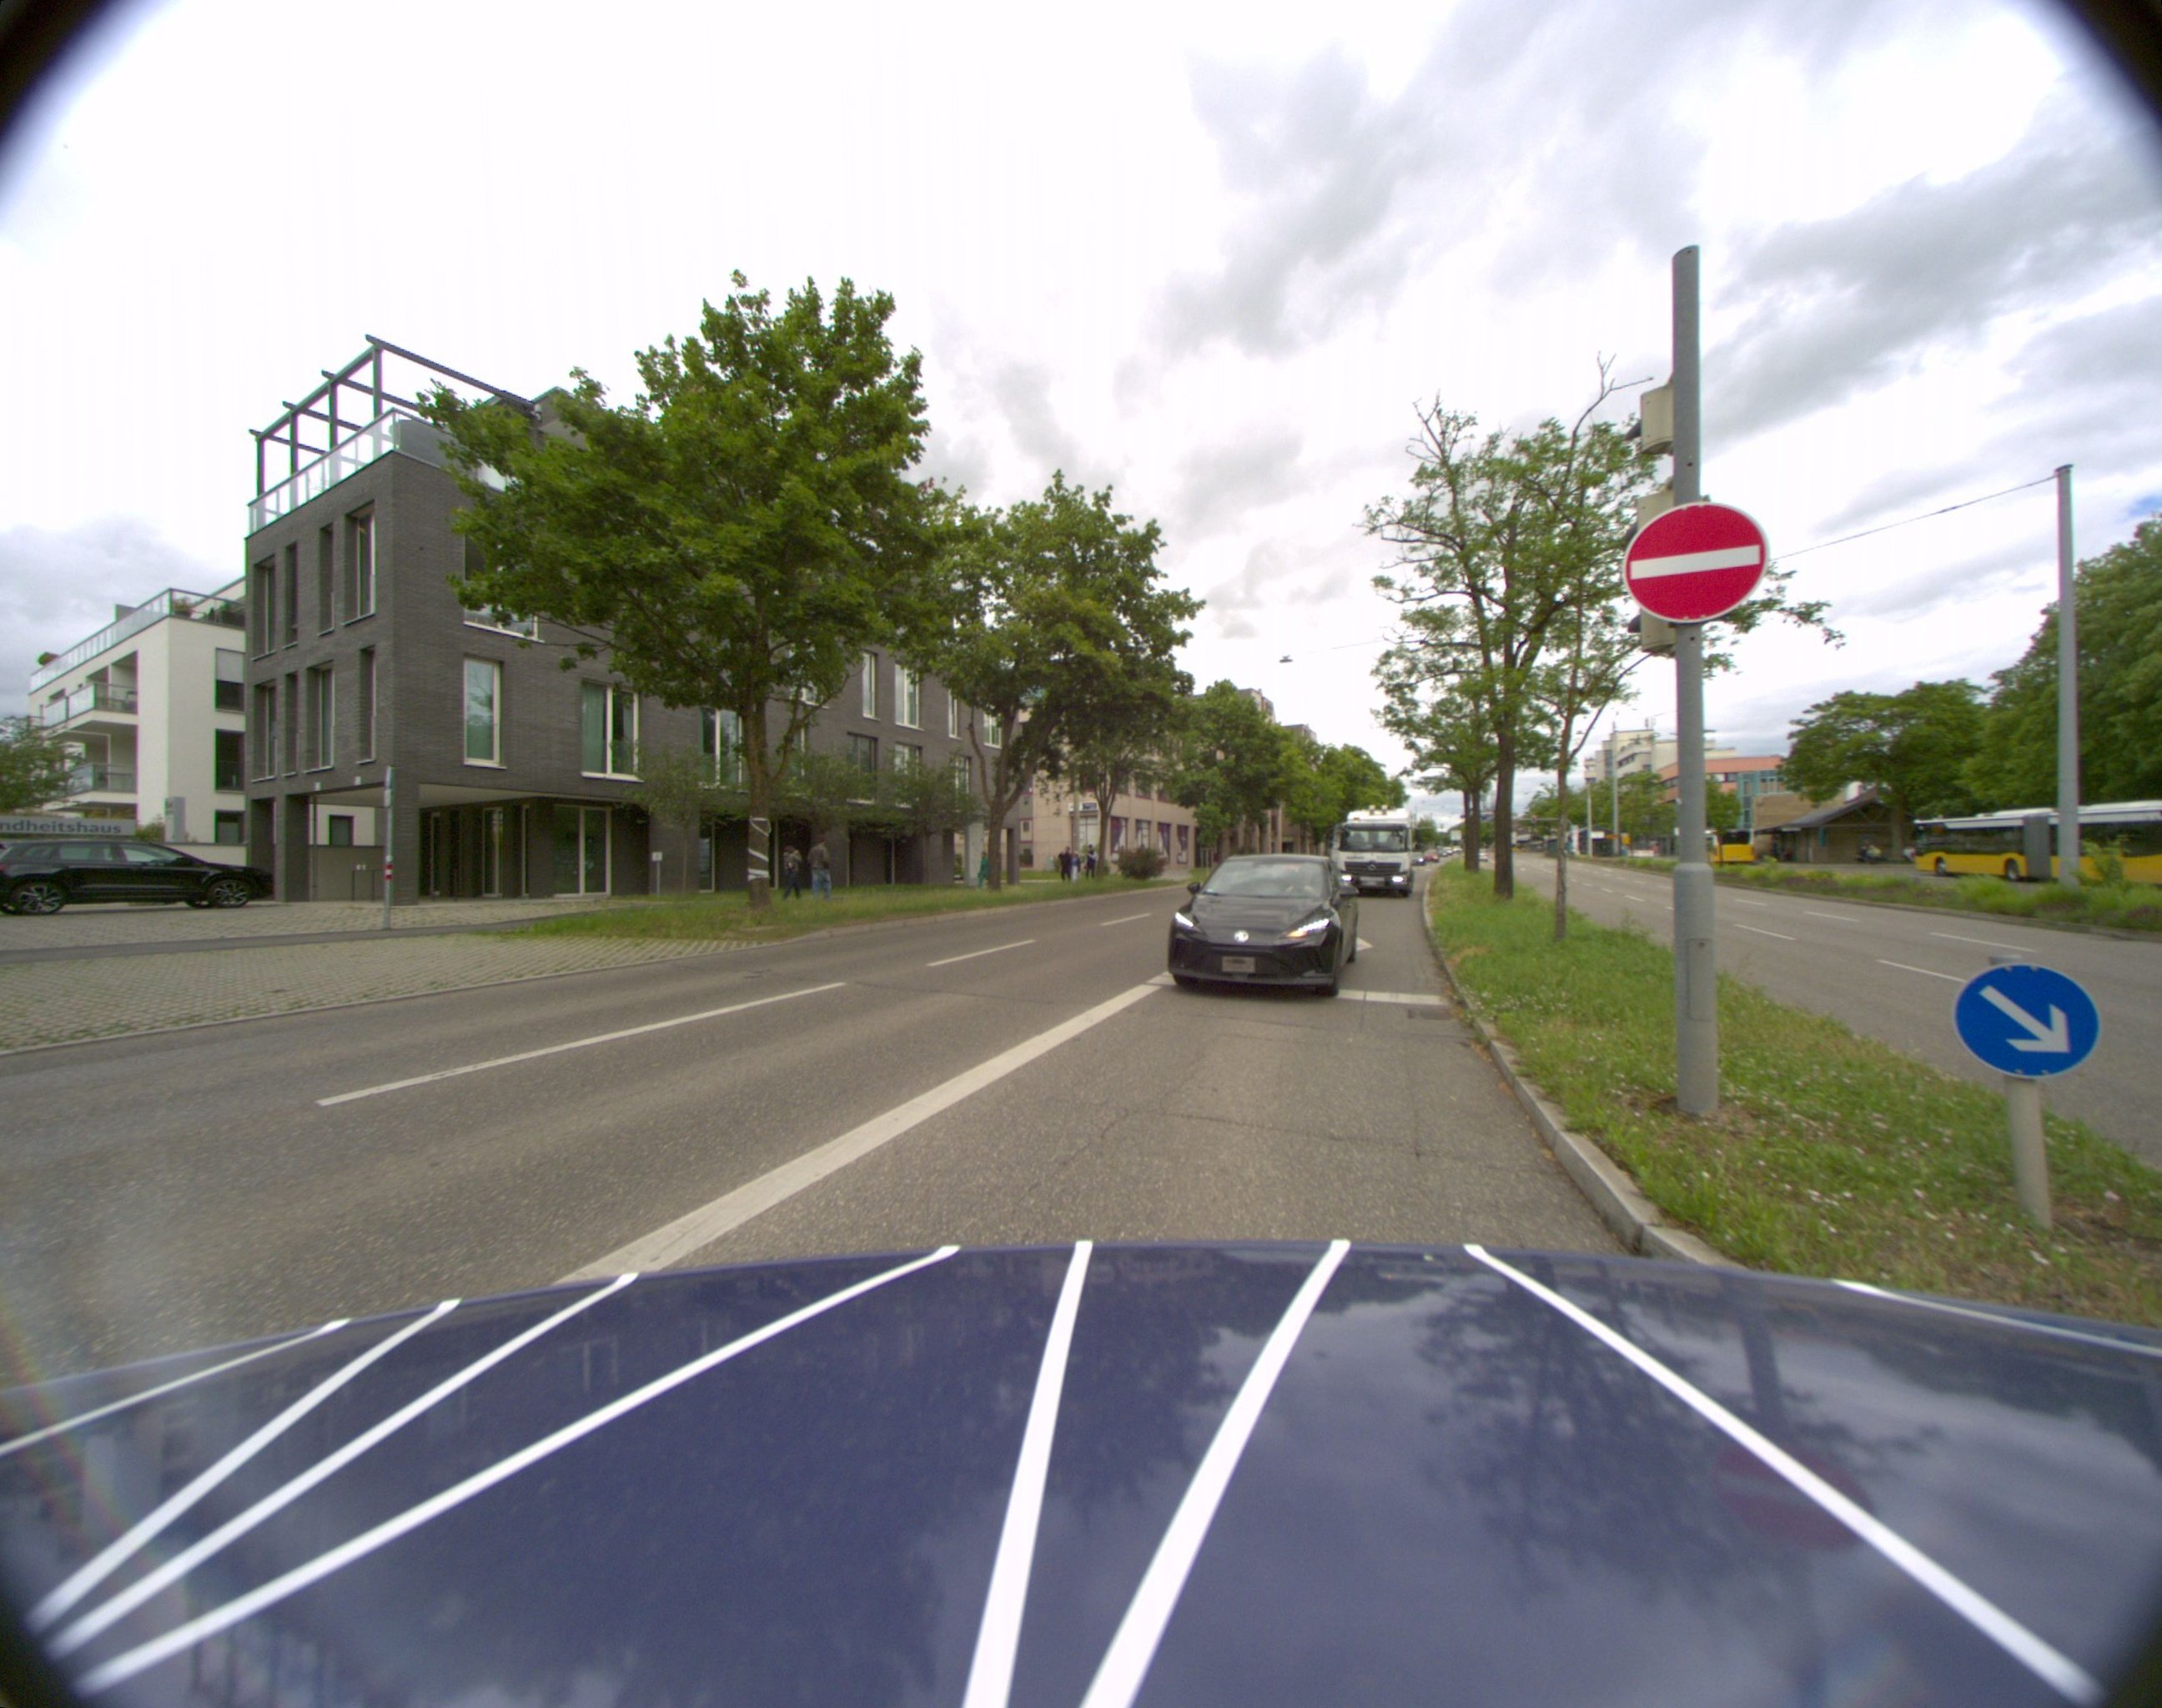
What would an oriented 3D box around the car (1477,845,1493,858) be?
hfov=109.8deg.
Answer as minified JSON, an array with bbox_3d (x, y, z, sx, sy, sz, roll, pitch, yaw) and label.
[{"bbox_3d":[53.865,-0.362,101.361,1.745,1.520,3.756,-2,1,30],"label":"car"}]

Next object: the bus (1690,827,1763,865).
[{"bbox_3d":[56.216,-0.783,66.435,3.287,2.991,10.249,-2,1,31],"label":"bus"}]

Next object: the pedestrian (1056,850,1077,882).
[{"bbox_3d":[-0.642,0.517,33.937,0.692,1.382,0.599,-2,1,26],"label":"pedestrian"}]

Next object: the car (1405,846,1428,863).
[{"bbox_3d":[36.361,0.008,82.280,1.995,1.685,4.611,-2,1,26],"label":"car"}]

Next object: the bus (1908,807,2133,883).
[{"bbox_3d":[42.360,-0.435,34.858,3.045,2.991,9.713,-2,1,29],"label":"bus"}]

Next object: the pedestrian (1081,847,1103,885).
[{"bbox_3d":[0.465,0.502,32.909,0.692,1.611,0.599,-2,1,26],"label":"pedestrian"}]

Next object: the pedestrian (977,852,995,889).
[{"bbox_3d":[-3.547,0.595,28.479,0.535,1.349,0.659,-2,1,0],"label":"pedestrian"}]

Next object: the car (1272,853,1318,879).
[{"bbox_3d":[12.465,0.637,44.076,1.995,1.415,4.363,0,0,24],"label":"car"}]

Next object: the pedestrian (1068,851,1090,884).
[{"bbox_3d":[-0.087,0.592,33.412,0.692,1.425,0.599,-2,1,26],"label":"pedestrian"}]

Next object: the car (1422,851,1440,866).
[{"bbox_3d":[45.438,0.579,98.602,1.888,1.734,3.677,-2,1,26],"label":"car"}]

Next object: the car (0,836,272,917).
[{"bbox_3d":[-21.188,0.507,16.801,1.995,1.591,4.134,-2,-2,28],"label":"car"}]

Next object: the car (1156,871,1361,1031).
[{"bbox_3d":[2.404,0.973,9.427,1.797,1.474,4.027,0,-1,23],"label":"car"}]

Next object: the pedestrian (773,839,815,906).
[{"bbox_3d":[-7.661,0.487,20.291,0.692,1.736,0.699,-2,1,21],"label":"pedestrian"}]

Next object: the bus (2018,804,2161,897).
[{"bbox_3d":[37.959,-0.228,26.920,3.045,2.991,8.444,-2,1,29],"label":"bus"}]

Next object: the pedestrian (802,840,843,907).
[{"bbox_3d":[-6.867,0.499,20.199,0.692,1.736,0.650,-2,1,21],"label":"pedestrian"}]

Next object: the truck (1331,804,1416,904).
[{"bbox_3d":[10.824,-0.034,27.735,2.431,3.177,6.477,2,1,24],"label":"truck"}]
